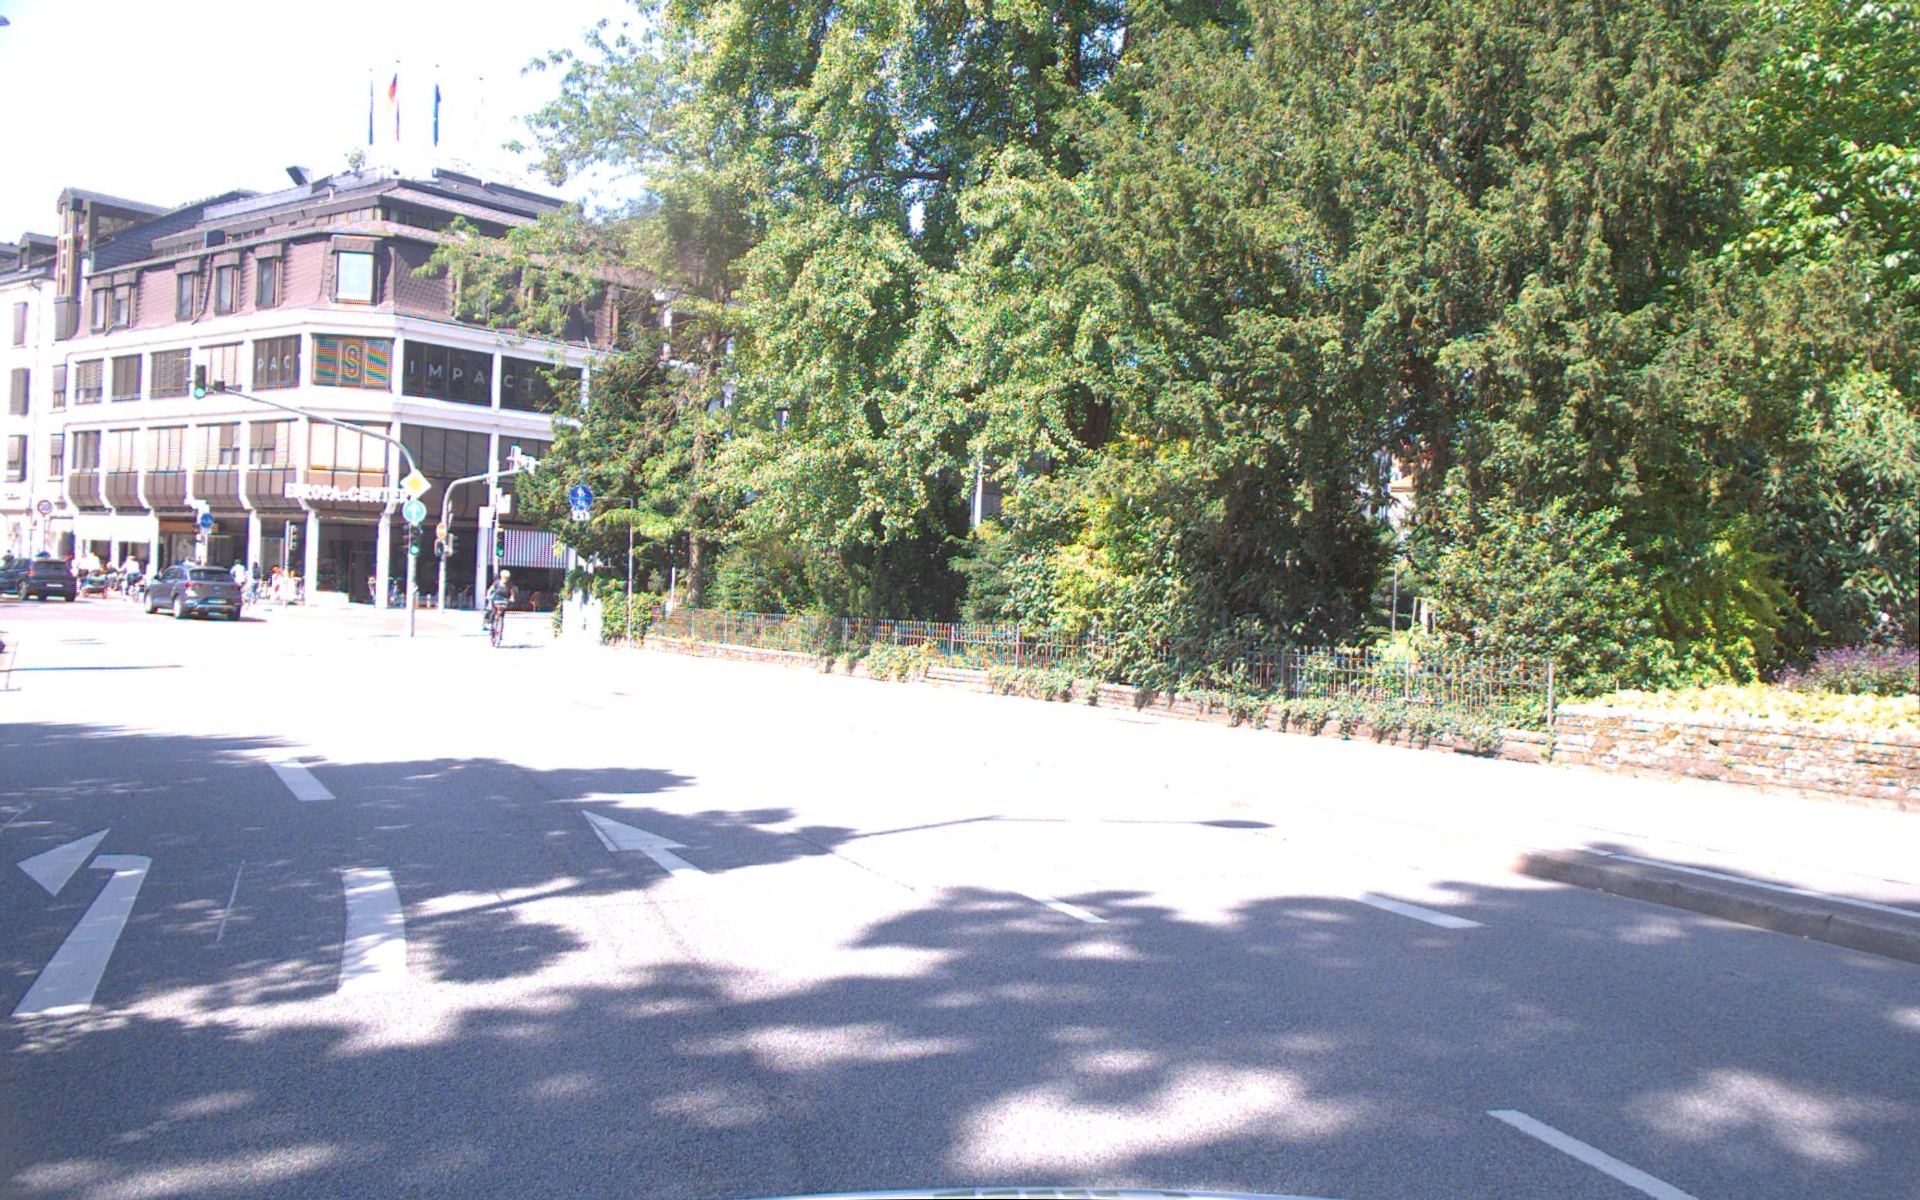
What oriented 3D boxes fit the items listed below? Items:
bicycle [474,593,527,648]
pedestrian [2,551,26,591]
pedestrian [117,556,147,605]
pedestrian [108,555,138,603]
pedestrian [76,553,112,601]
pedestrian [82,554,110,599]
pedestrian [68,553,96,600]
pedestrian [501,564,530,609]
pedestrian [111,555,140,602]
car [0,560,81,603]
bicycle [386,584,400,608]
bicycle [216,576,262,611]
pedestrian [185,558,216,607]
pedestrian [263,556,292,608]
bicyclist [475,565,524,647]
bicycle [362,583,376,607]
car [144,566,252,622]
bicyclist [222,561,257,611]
[{"bbox_3d":[-10.683,0.460,38.383,0.842,1.180,2.067,2,0,-24],"label":"bicycle"},{"bbox_3d":[-45.067,-1.392,78.795,0.816,1.844,0.768,3,0,45],"label":"pedestrian"},{"bbox_3d":[-31.932,-0.762,63.806,0.768,1.844,0.816,2,0,-44],"label":"pedestrian"},{"bbox_3d":[-32.731,-0.823,64.663,0.768,1.844,0.816,2,0,-44],"label":"pedestrian"},{"bbox_3d":[-34.354,-0.905,65.597,0.970,1.844,0.935,2,0,-44],"label":"pedestrian"},{"bbox_3d":[-36.261,-0.985,69.404,0.768,1.844,0.816,2,0,-44],"label":"pedestrian"},{"bbox_3d":[-35.371,-0.947,66.640,0.768,1.844,0.816,2,0,-44],"label":"pedestrian"},{"bbox_3d":[-20.660,-0.636,76.804,0.979,2.049,0.850,2,0,-44],"label":"pedestrian"},{"bbox_3d":[-33.862,-0.879,67.116,0.768,1.844,0.816,2,0,-44],"label":"pedestrian"},{"bbox_3d":[-33.144,-0.684,59.292,3.729,1.434,1.820,2,0,44],"label":"car"},{"bbox_3d":[-22.831,-0.165,66.562,0.499,0.917,1.514,2,0,-19],"label":"bicycle"},{"bbox_3d":[-26.449,-0.234,60.671,2.287,1.200,0.725,2,-1,44],"label":"bicycle"},{"bbox_3d":[-29.018,-0.673,63.192,0.768,1.844,0.816,2,0,-44],"label":"pedestrian"},{"bbox_3d":[-27.213,-0.718,65.938,0.768,1.993,0.816,2,0,-44],"label":"pedestrian"},{"bbox_3d":[-10.718,0.128,38.491,0.848,1.827,1.121,3,0,-25],"label":"bicyclist"},{"bbox_3d":[-23.658,-0.203,66.241,0.499,0.917,1.514,2,0,-19],"label":"bicycle"},{"bbox_3d":[-22.840,-0.189,49.512,1.936,1.564,4.023,2,0,-40],"label":"car"},{"bbox_3d":[-26.426,-0.513,60.642,1.111,1.777,0.747,3,0,45],"label":"bicyclist"}]
